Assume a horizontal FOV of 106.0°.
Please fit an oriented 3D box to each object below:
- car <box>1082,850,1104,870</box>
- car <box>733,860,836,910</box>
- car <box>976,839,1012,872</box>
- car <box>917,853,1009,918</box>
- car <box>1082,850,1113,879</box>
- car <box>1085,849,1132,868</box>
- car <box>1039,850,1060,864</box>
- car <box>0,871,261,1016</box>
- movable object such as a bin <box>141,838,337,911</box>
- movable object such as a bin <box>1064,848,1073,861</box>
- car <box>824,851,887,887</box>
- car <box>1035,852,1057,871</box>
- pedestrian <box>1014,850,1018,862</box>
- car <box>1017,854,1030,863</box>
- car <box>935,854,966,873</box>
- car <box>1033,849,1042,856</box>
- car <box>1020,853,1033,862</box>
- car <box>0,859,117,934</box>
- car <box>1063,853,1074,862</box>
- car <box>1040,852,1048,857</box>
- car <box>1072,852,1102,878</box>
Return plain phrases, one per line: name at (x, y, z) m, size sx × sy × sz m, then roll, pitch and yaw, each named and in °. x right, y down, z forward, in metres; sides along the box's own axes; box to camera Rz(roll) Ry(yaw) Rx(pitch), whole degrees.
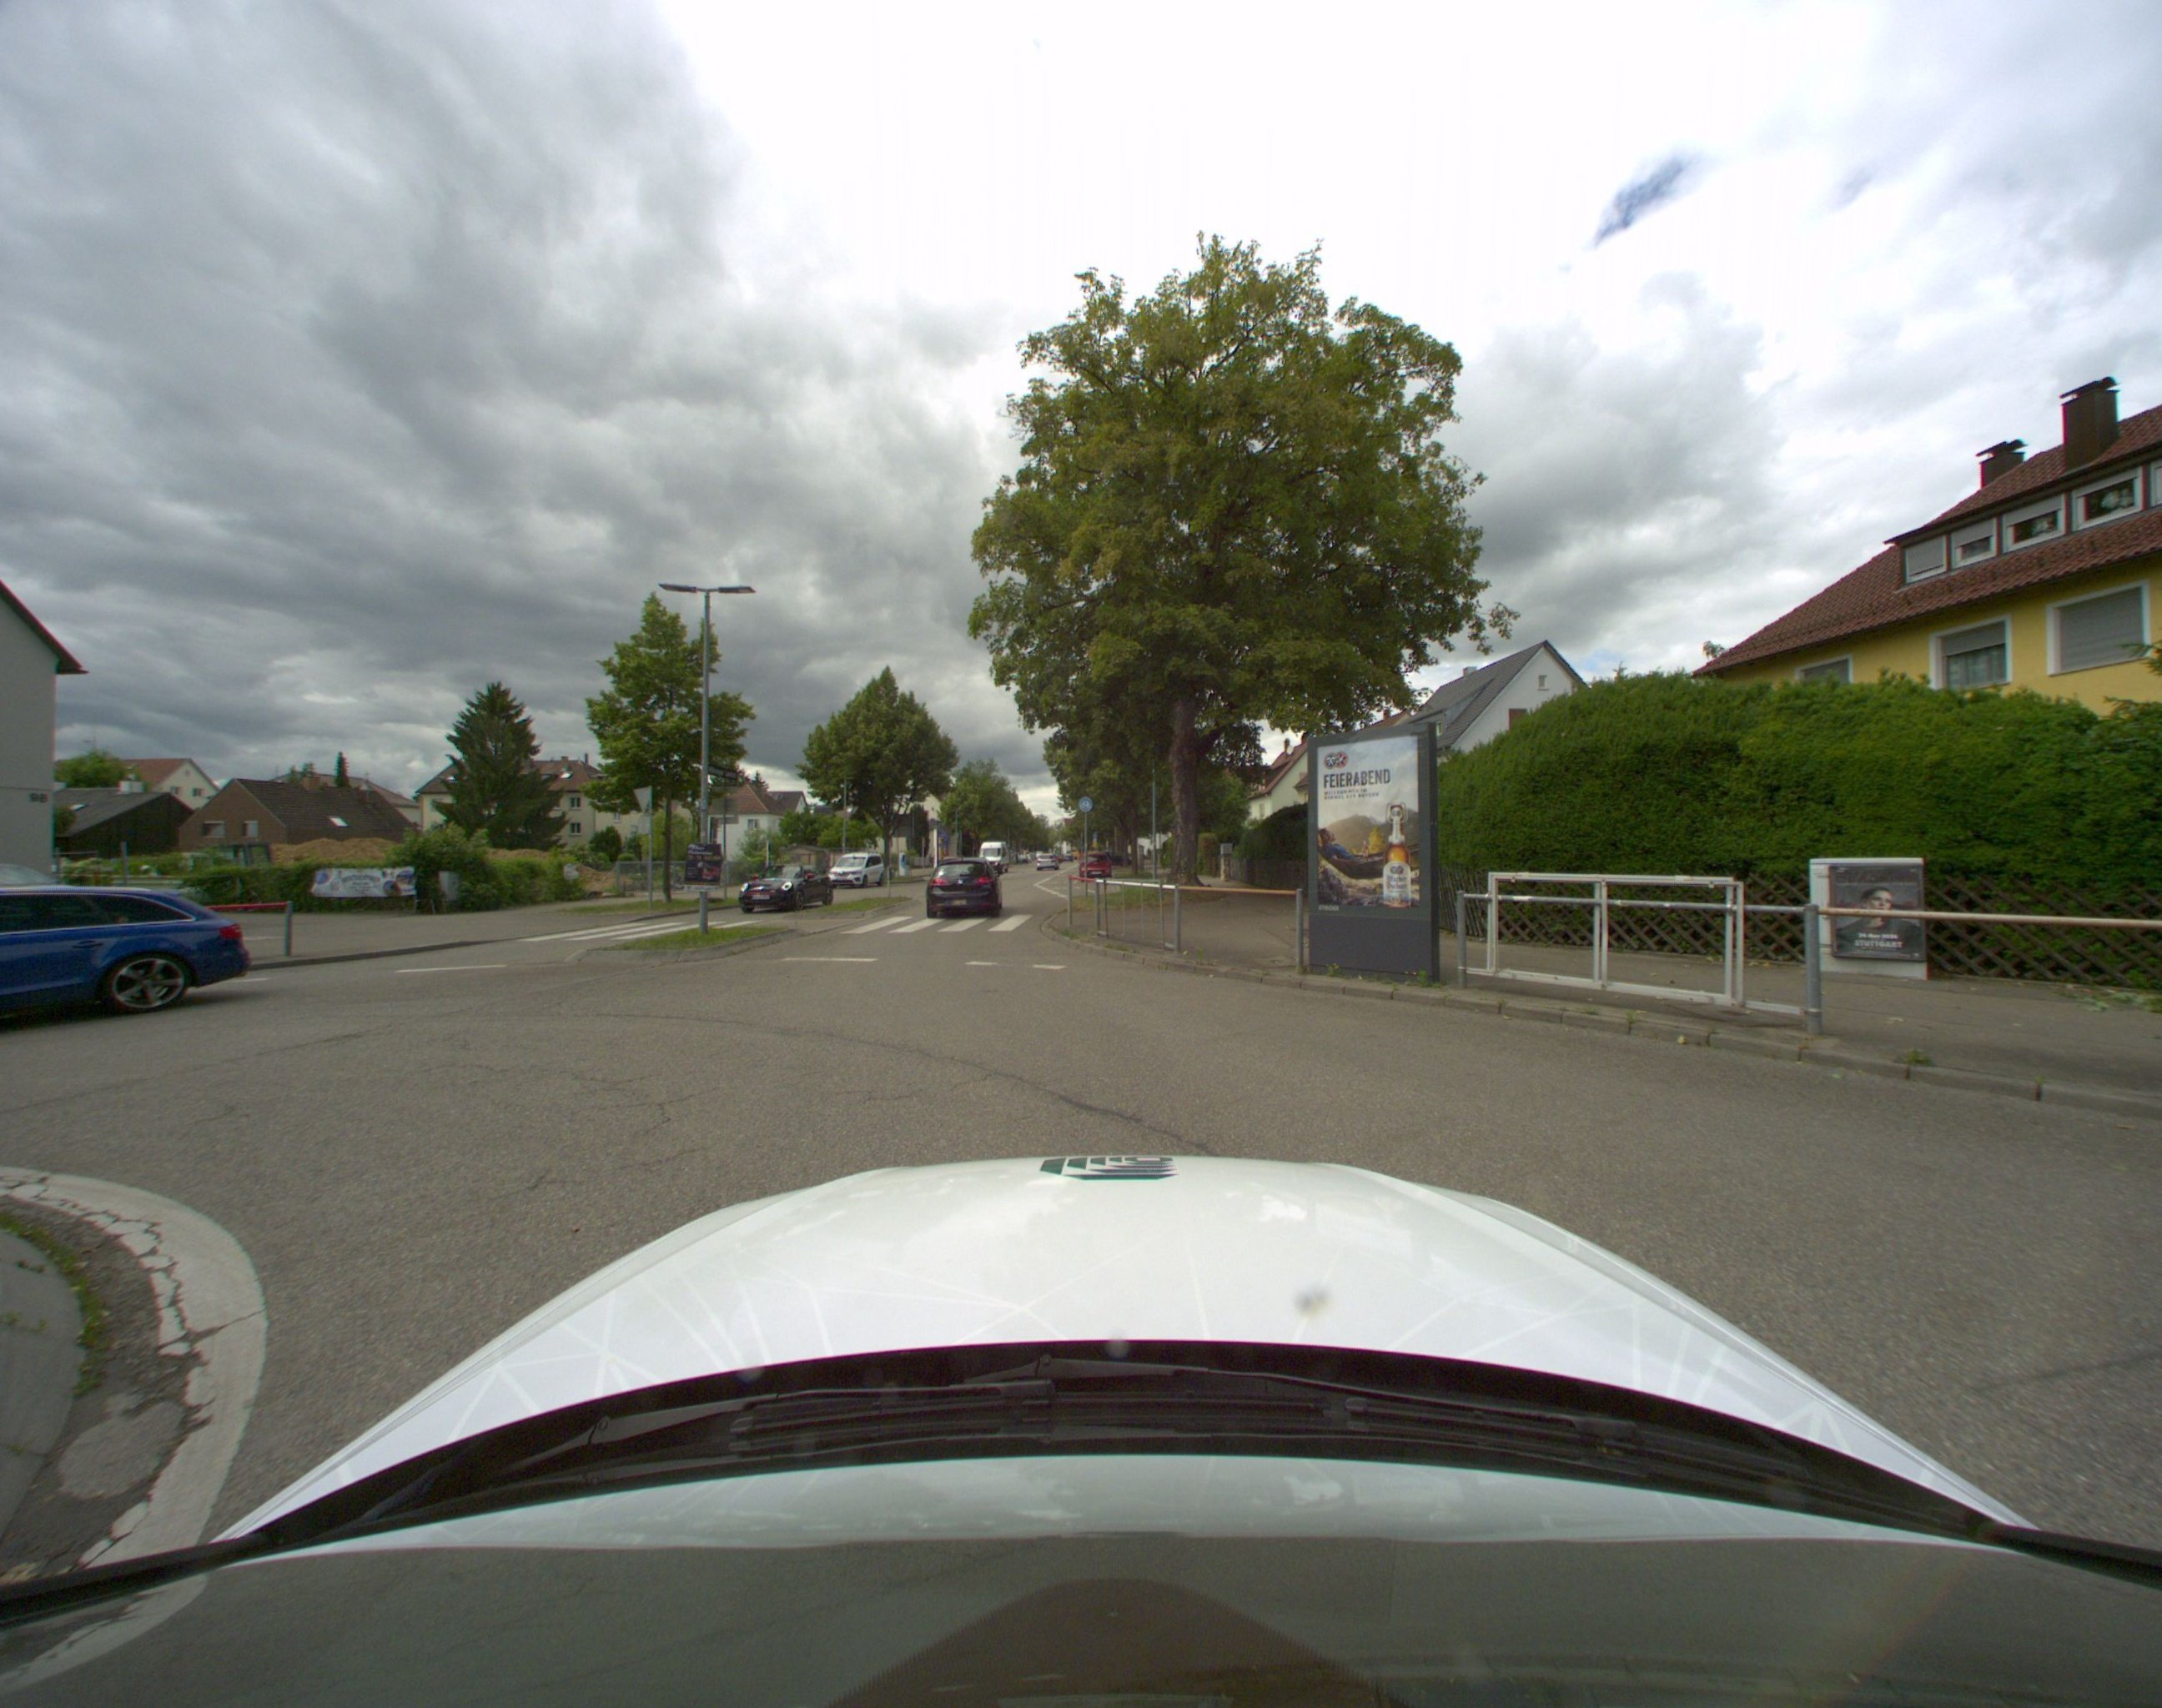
car at (0.947, 0.453, 65.249) m, size 1.647 × 1.416 × 4.176 m, roll -2°, pitch 0°, yaw 0°
car at (-8.946, 0.887, 24.873) m, size 1.566 × 1.362 × 3.746 m, roll -1°, pitch 0°, yaw 3°
car at (-7.215, 0.105, 68.035) m, size 2.010 × 2.674 × 5.811 m, roll -1°, pitch 0°, yaw 3°
car at (-2.886, 0.719, 20.691) m, size 1.813 × 1.437 × 3.738 m, roll -2°, pitch 0°, yaw -1°
car at (0.890, 0.568, 43.406) m, size 1.559 × 1.455 × 3.669 m, roll -1°, pitch -1°, yaw 1°
car at (2.519, 0.404, 75.688) m, size 4.209 × 1.638 × 1.691 m, roll -2°, pitch 0°, yaw -5°
car at (-4.263, 0.355, 111.730) m, size 1.895 × 1.882 × 4.013 m, roll -1°, pitch 0°, yaw 12°
car at (-11.360, 0.915, 7.890) m, size 1.595 × 1.372 × 4.529 m, roll -2°, pitch -1°, yaw 20°
movable object such as a bin at (-27.410, 0.615, 26.772) m, size 1.890 × 2.187 × 4.361 m, roll -1°, pitch 0°, yaw -1°
movable object such as a bin at (-2.526, 0.073, 169.101) m, size 1.763 × 2.574 × 3.738 m, roll -1°, pitch 0°, yaw -1°
car at (-11.694, 0.736, 42.565) m, size 1.763 × 1.770 × 4.555 m, roll -1°, pitch 0°, yaw 3°
car at (-3.148, 0.661, 74.075) m, size 1.900 × 1.685 × 3.738 m, roll -2°, pitch 0°, yaw -1°
pedestrian at (-9.773, 0.283, 122.244) m, size 0.539 × 1.681 × 0.752 m, roll 0°, pitch 1°, yaw 9°
car at (-9.147, 0.695, 129.262) m, size 1.637 × 1.420 × 4.020 m, roll -2°, pitch 0°, yaw 0°
car at (-10.975, 0.784, 68.828) m, size 1.678 × 1.541 × 4.136 m, roll -1°, pitch 0°, yaw 3°
car at (-11.569, -0.291, 216.689) m, size 1.959 × 1.830 × 4.820 m, roll -1°, pitch 0°, yaw 1°
car at (-9.066, 0.633, 135.907) m, size 1.707 × 1.406 × 4.303 m, roll -2°, pitch 0°, yaw 3°
car at (-22.289, 0.811, 16.320) m, size 3.903 × 1.402 × 1.747 m, roll 0°, pitch 0°, yaw 1°
car at (-1.957, 0.543, 129.438) m, size 1.804 × 1.375 × 3.692 m, roll -1°, pitch 0°, yaw -1°
car at (-11.426, 0.146, 250.434) m, size 1.810 × 1.415 × 3.680 m, roll -1°, pitch 0°, yaw -10°
car at (0.343, 0.611, 49.228) m, size 1.647 × 1.416 × 4.176 m, roll -2°, pitch 0°, yaw 0°
